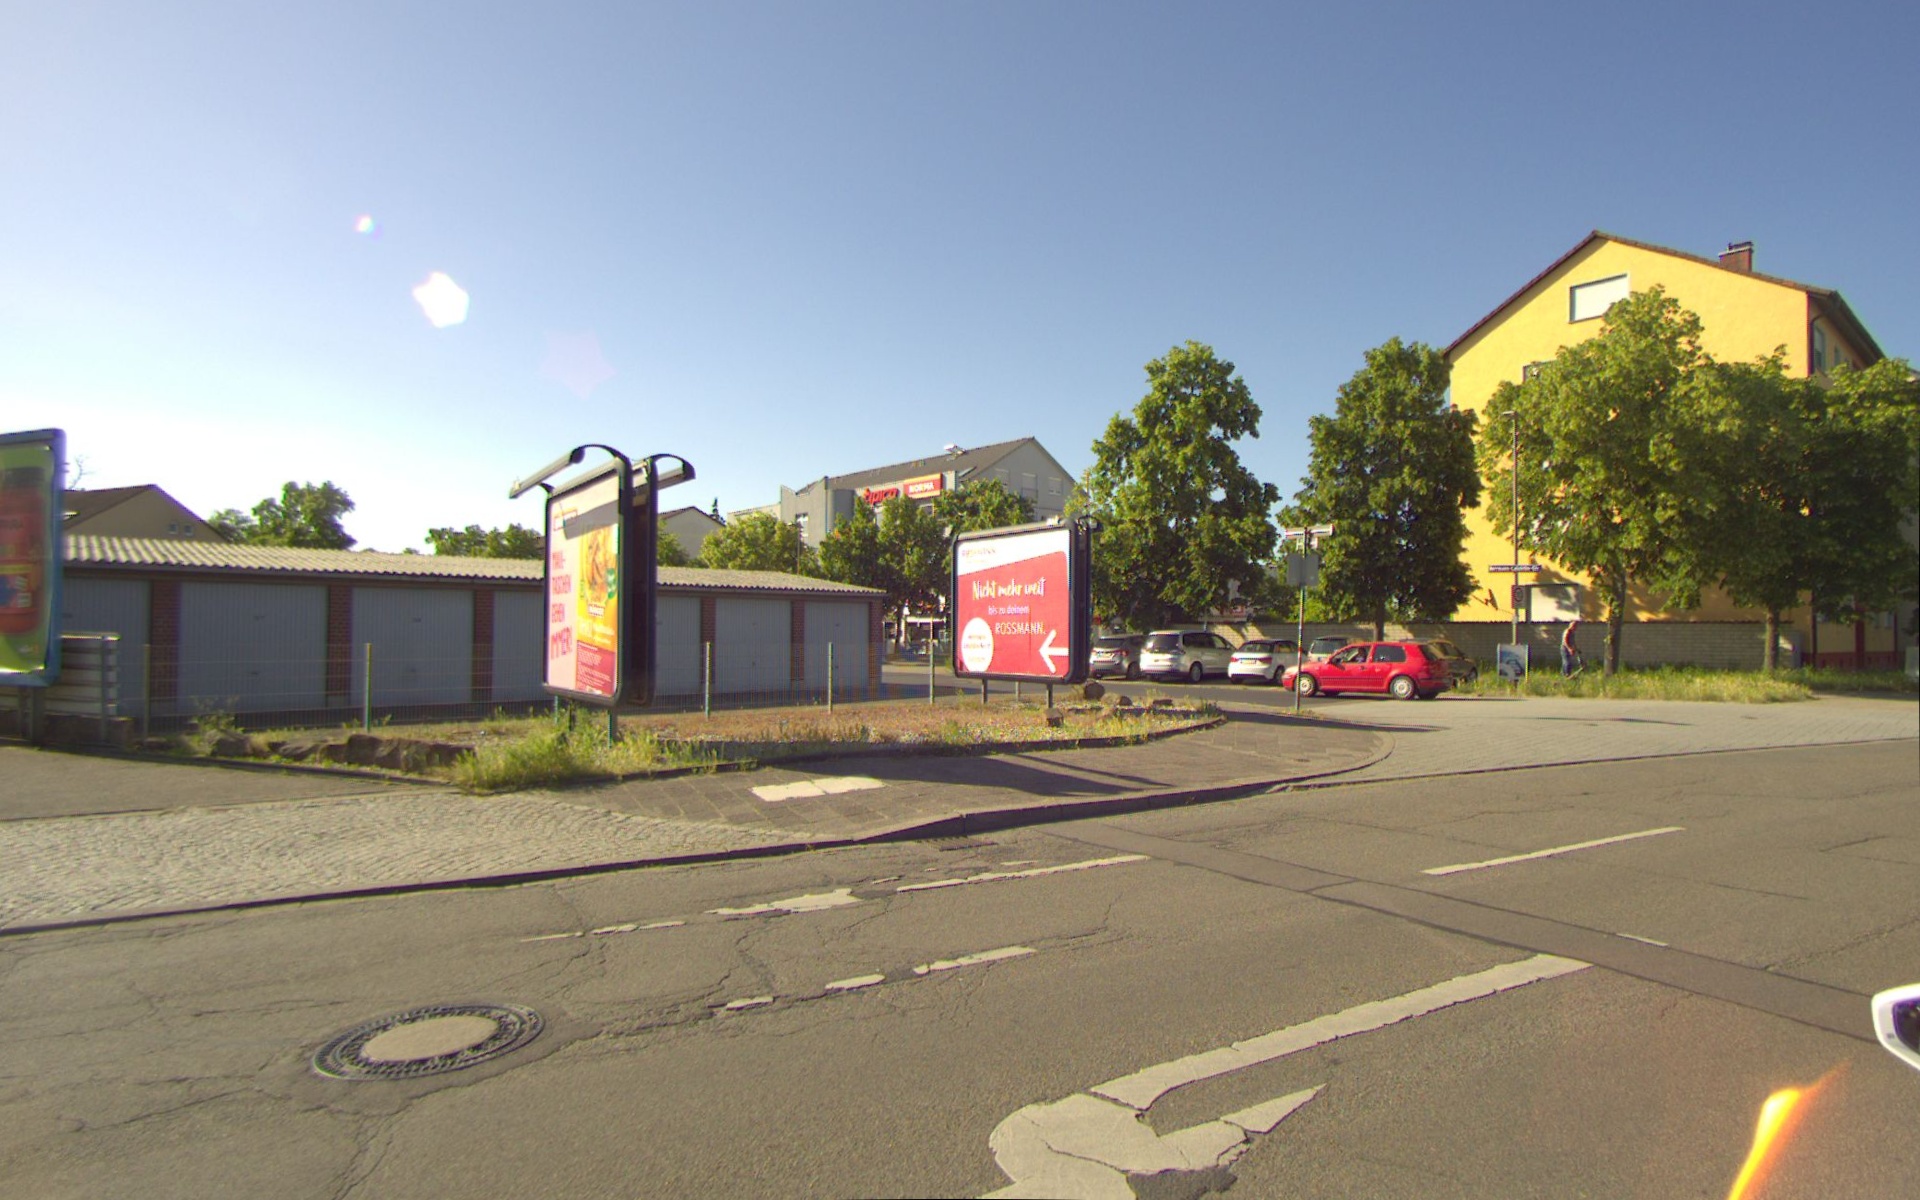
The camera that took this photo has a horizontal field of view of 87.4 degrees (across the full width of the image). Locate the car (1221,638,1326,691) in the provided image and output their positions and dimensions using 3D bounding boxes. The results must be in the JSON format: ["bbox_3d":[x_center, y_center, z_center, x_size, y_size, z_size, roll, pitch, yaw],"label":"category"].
[{"bbox_3d":[10.282,2.065,32.778,1.680,1.483,3.857,-3,-1,44],"label":"car"}]

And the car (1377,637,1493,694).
[{"bbox_3d":[13.753,1.863,28.985,3.854,1.483,1.713,1,-3,-43],"label":"car"}]

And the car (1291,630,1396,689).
[{"bbox_3d":[12.151,1.840,31.692,1.680,1.643,3.857,-3,-2,44],"label":"car"}]

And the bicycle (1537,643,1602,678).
[{"bbox_3d":[17.883,1.776,29.492,1.593,1.024,0.406,-2,-3,29],"label":"bicycle"}]

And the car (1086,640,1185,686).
[{"bbox_3d":[6.411,2.254,36.474,3.852,1.525,1.488,1,-3,-42],"label":"car"}]

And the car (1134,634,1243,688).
[{"bbox_3d":[7.862,2.059,34.391,3.852,1.701,1.683,1,-3,-42],"label":"car"}]

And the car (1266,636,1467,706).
[{"bbox_3d":[10.323,1.743,25.698,4.332,1.589,2.007,-2,-2,43],"label":"car"}]

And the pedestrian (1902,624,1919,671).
[{"bbox_3d":[36.076,1.809,37.799,0.712,1.740,0.682,3,-5,-30],"label":"pedestrian"}]

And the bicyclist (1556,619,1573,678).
[{"bbox_3d":[17.786,1.435,29.546,0.382,1.707,0.382,-1,-4,29],"label":"bicyclist"}]
